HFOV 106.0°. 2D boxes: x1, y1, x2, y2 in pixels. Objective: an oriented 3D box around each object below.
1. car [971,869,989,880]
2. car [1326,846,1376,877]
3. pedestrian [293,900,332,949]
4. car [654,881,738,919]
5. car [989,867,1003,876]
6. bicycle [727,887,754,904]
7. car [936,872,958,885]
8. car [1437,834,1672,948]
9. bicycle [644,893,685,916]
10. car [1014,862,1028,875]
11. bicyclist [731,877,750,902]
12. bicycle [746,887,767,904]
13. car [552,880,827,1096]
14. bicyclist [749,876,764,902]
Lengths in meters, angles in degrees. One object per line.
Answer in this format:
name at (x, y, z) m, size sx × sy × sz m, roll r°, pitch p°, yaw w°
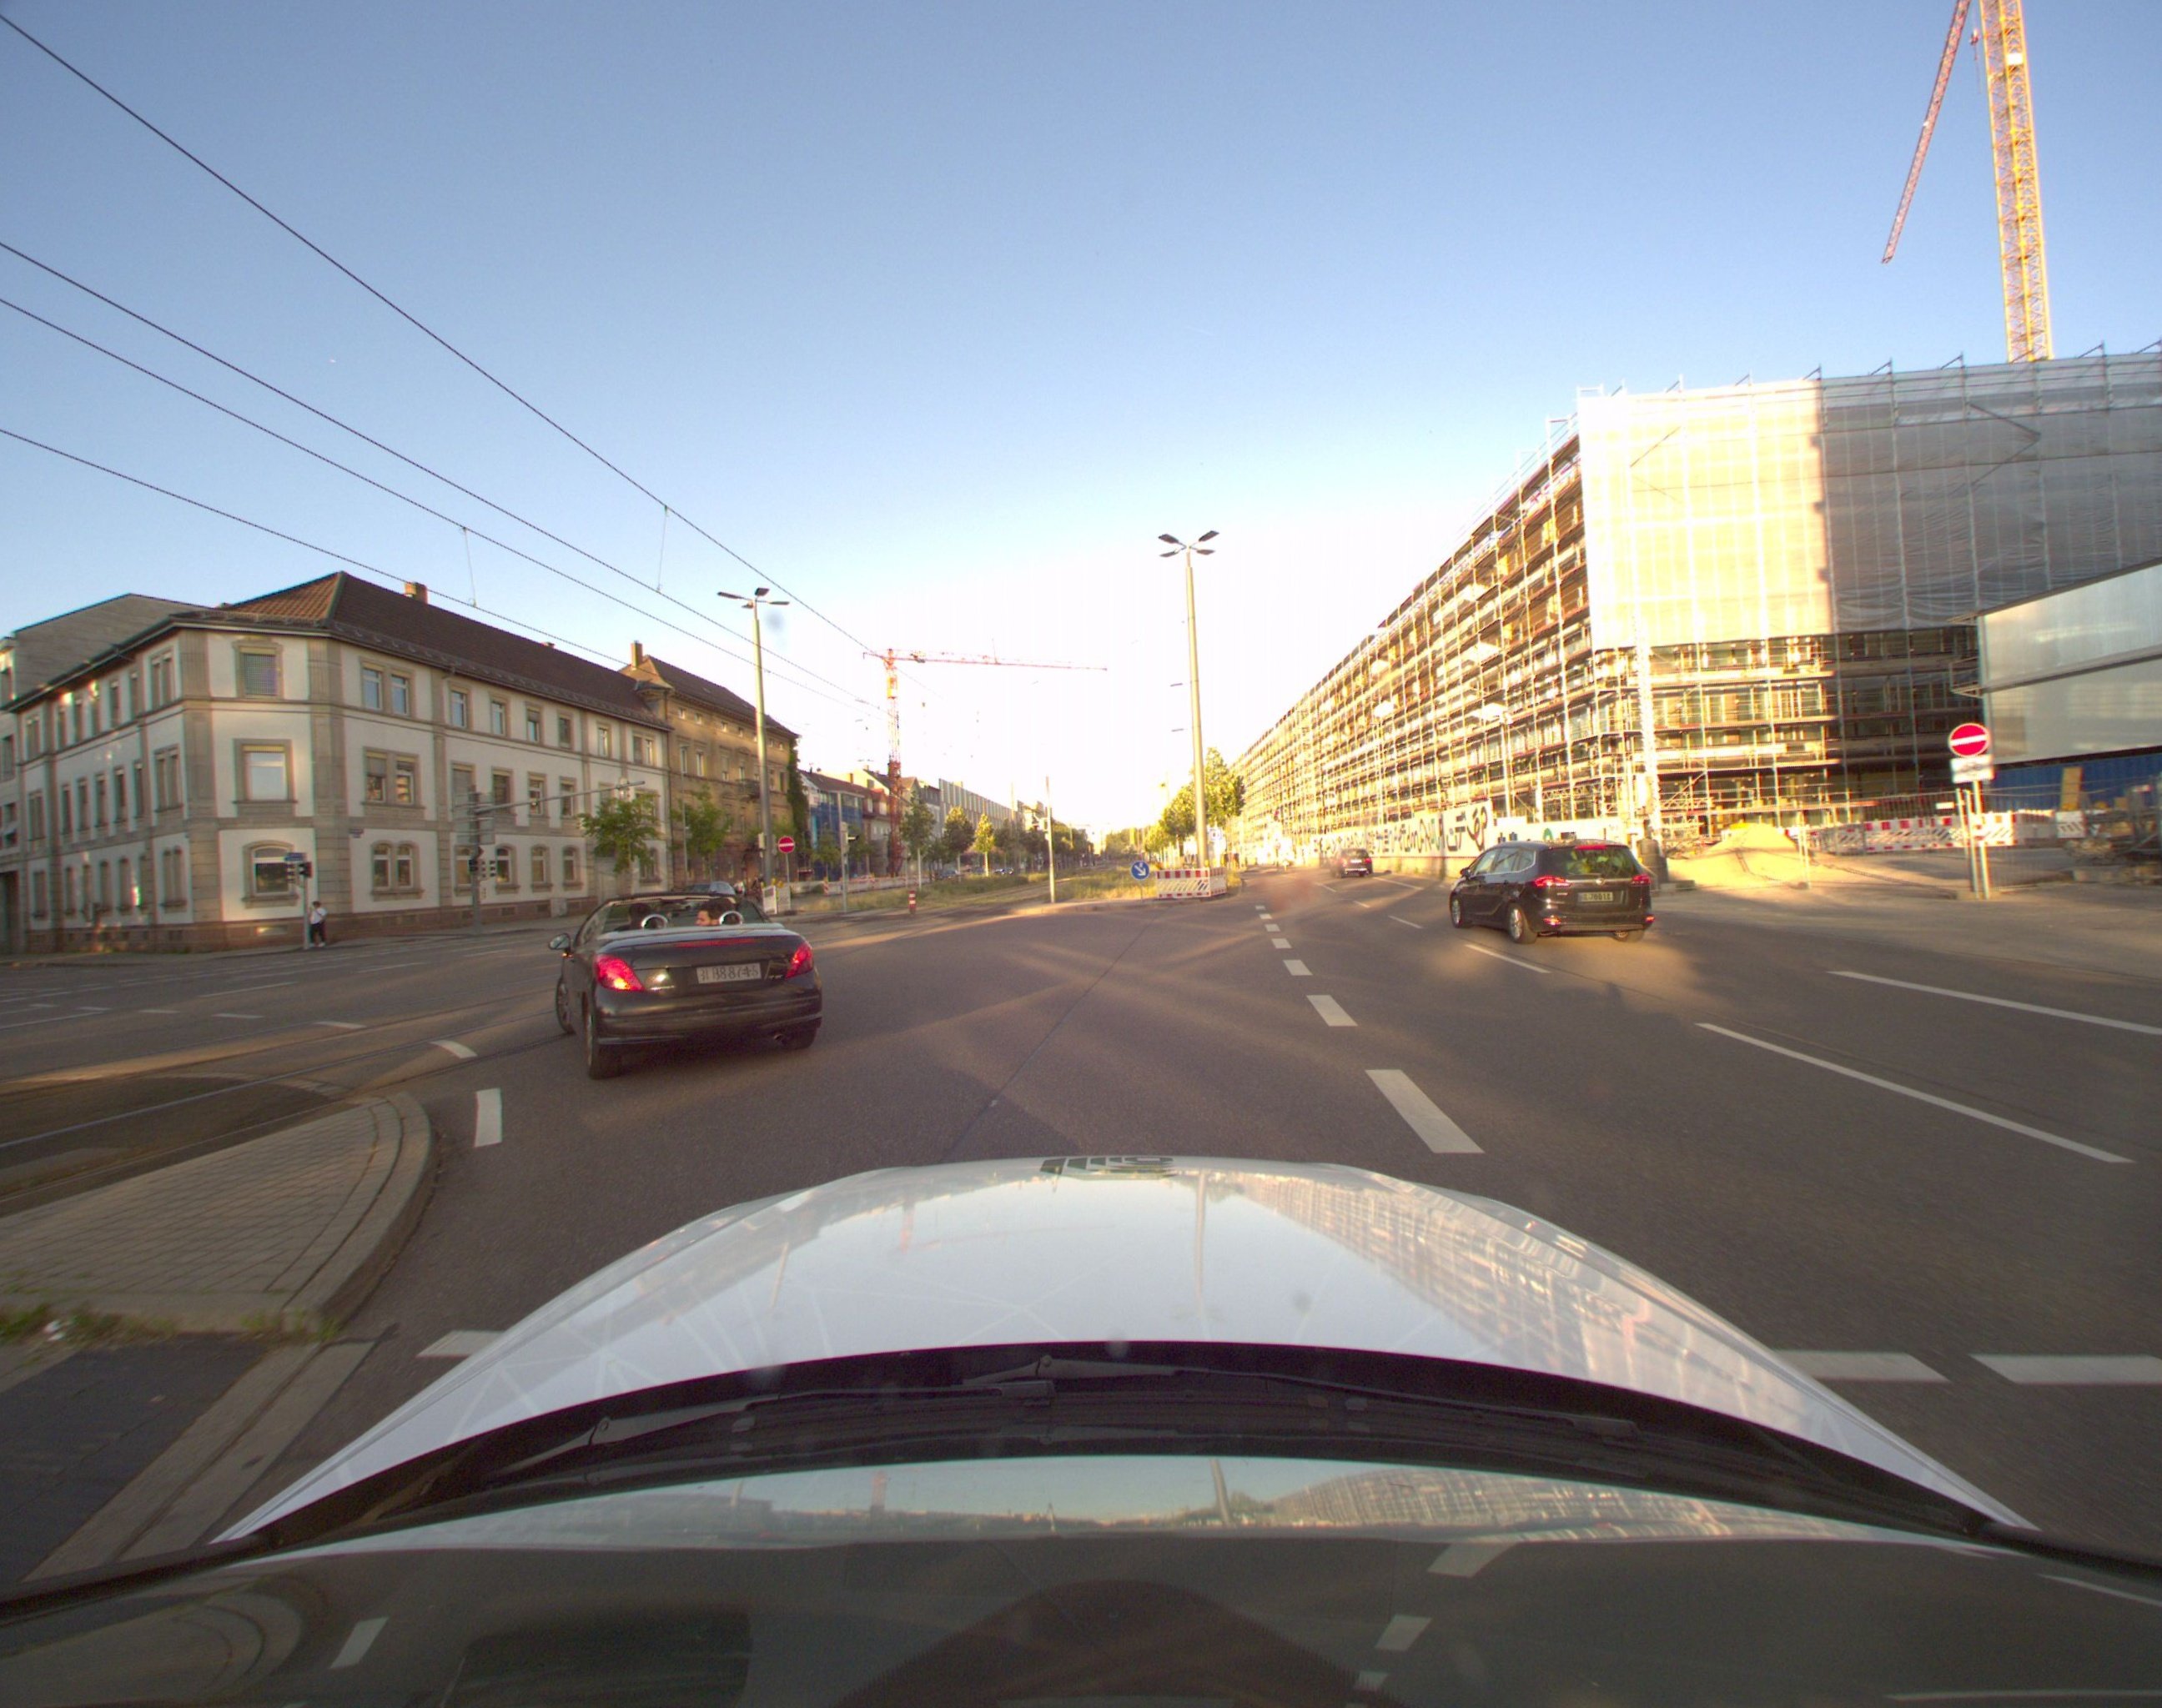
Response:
car at (-14.220, 2.921, 114.783) m, size 1.650 × 1.431 × 3.900 m, roll -1°, pitch 0°, yaw 5°
car at (14.176, 0.371, 43.006) m, size 1.809 × 1.519 × 4.805 m, roll -2°, pitch 0°, yaw 10°
pedestrian at (-28.386, 2.584, 30.086) m, size 0.812 × 1.716 × 0.700 m, roll -1°, pitch 0°, yaw -19°
car at (-19.655, 2.312, 41.796) m, size 1.985 × 1.580 × 4.128 m, roll -4°, pitch 0°, yaw 4°
car at (-14.319, 2.908, 137.497) m, size 1.650 × 1.431 × 3.900 m, roll -1°, pitch 0°, yaw 5°
bicycle at (-21.548, 2.623, 51.552) m, size 0.767 × 0.945 × 1.644 m, roll -1°, pitch 0°, yaw 10°
car at (-15.937, 2.859, 97.177) m, size 1.650 × 1.431 × 3.900 m, roll -1°, pitch 0°, yaw 5°
car at (7.730, 0.535, 13.854) m, size 1.813 × 1.598 × 4.374 m, roll -1°, pitch 0°, yaw 6°
bicycle at (-22.499, 2.720, 44.092) m, size 0.844 × 1.124 × 2.416 m, roll -1°, pitch 0°, yaw 4°
car at (-10.034, 2.428, 137.427) m, size 1.650 × 1.964 × 4.272 m, roll -1°, pitch 0°, yaw 5°
bicyclist at (-21.552, 2.227, 51.556) m, size 0.767 × 1.571 × 0.795 m, roll -1°, pitch 0°, yaw 10°
bicycle at (-20.572, 2.614, 51.637) m, size 0.587 × 0.975 × 1.558 m, roll -1°, pitch 0°, yaw 4°
car at (-3.847, 0.973, 7.602) m, size 1.687 × 1.352 × 3.957 m, roll -1°, pitch 0°, yaw -35°
bicyclist at (-20.576, 2.217, 51.645) m, size 0.587 × 1.569 × 0.711 m, roll -1°, pitch 0°, yaw 4°
